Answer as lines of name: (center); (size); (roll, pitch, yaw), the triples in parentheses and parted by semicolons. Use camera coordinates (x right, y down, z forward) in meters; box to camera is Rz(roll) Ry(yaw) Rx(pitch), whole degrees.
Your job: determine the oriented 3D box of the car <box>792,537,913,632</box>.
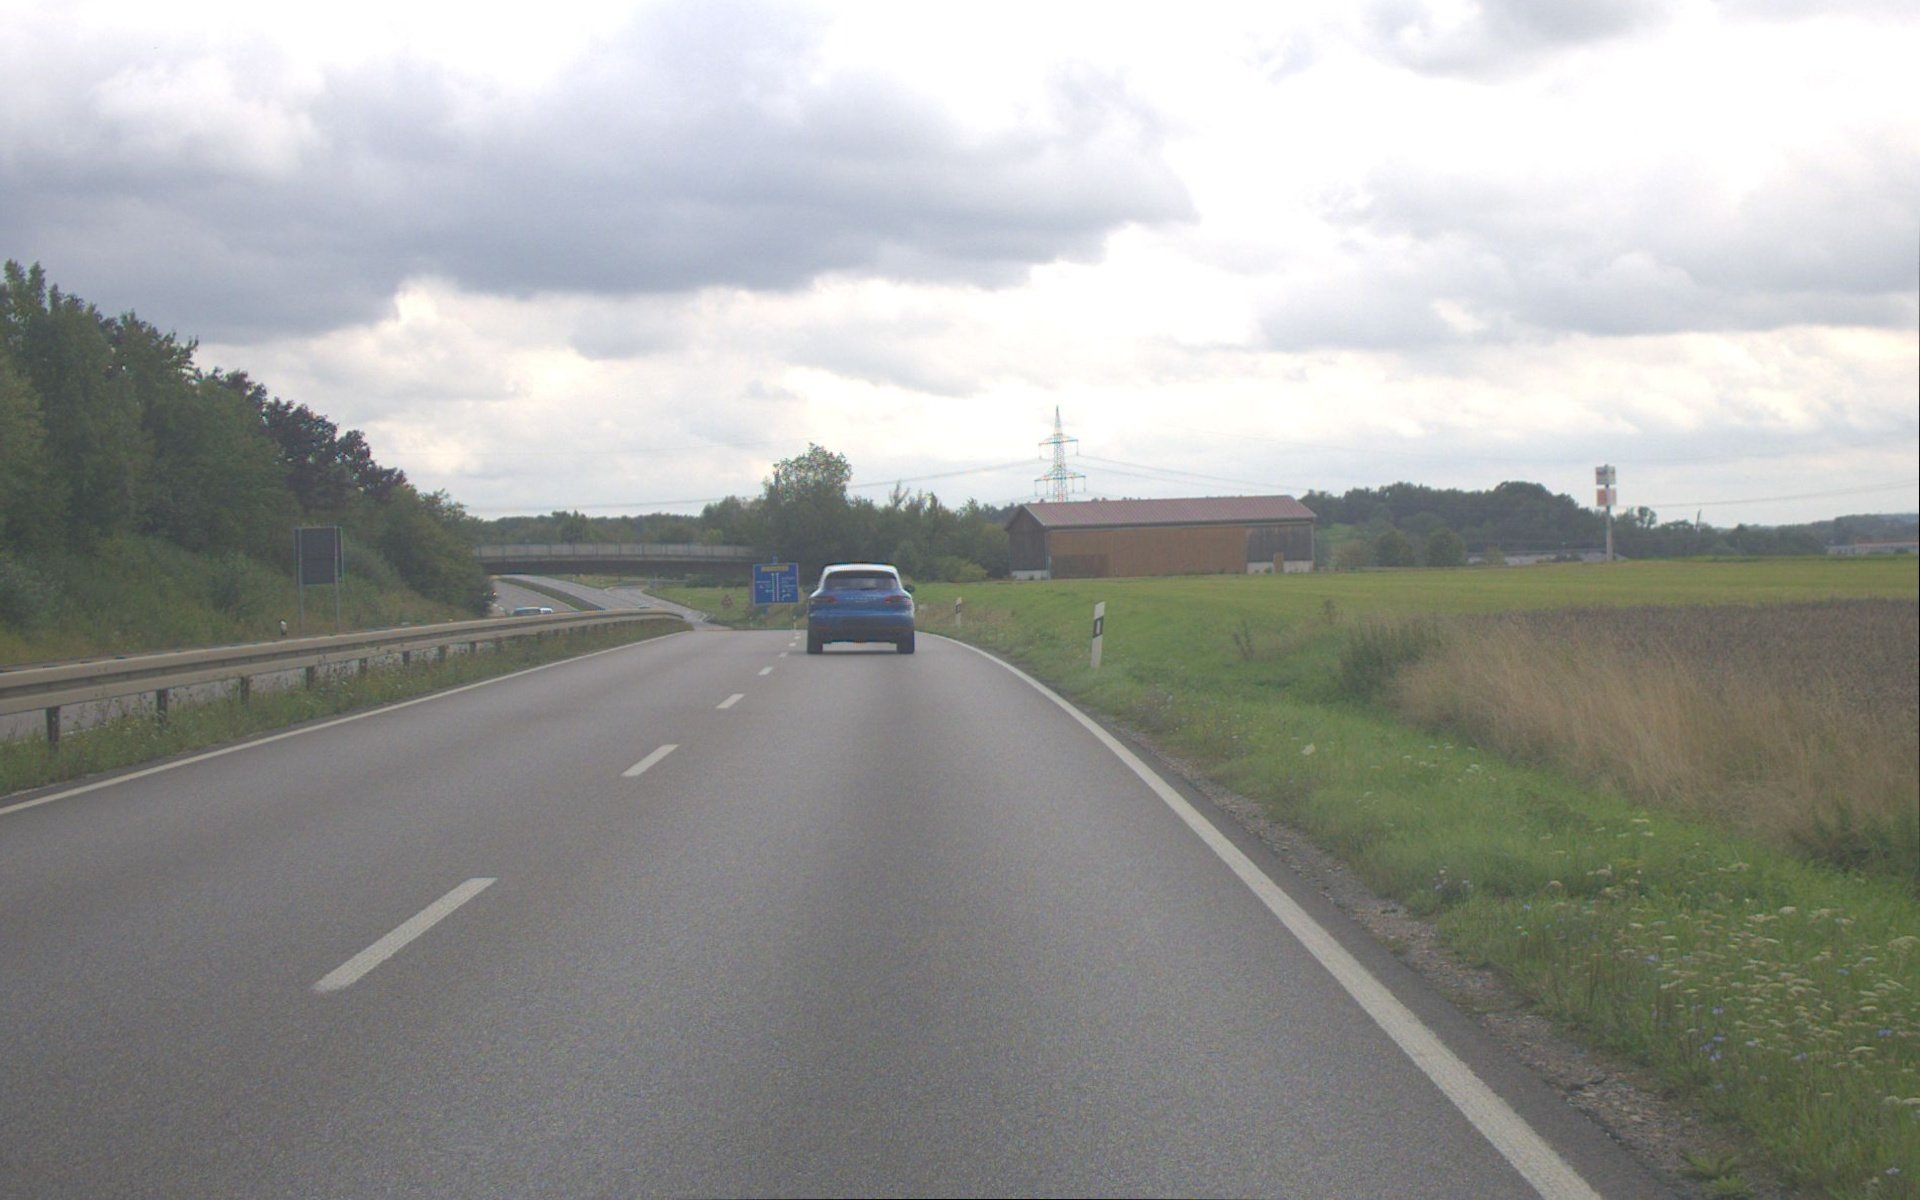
car: (-1.920, -0.313, 62.828); (2.033, 1.655, 4.543); (0, 1, 0)
